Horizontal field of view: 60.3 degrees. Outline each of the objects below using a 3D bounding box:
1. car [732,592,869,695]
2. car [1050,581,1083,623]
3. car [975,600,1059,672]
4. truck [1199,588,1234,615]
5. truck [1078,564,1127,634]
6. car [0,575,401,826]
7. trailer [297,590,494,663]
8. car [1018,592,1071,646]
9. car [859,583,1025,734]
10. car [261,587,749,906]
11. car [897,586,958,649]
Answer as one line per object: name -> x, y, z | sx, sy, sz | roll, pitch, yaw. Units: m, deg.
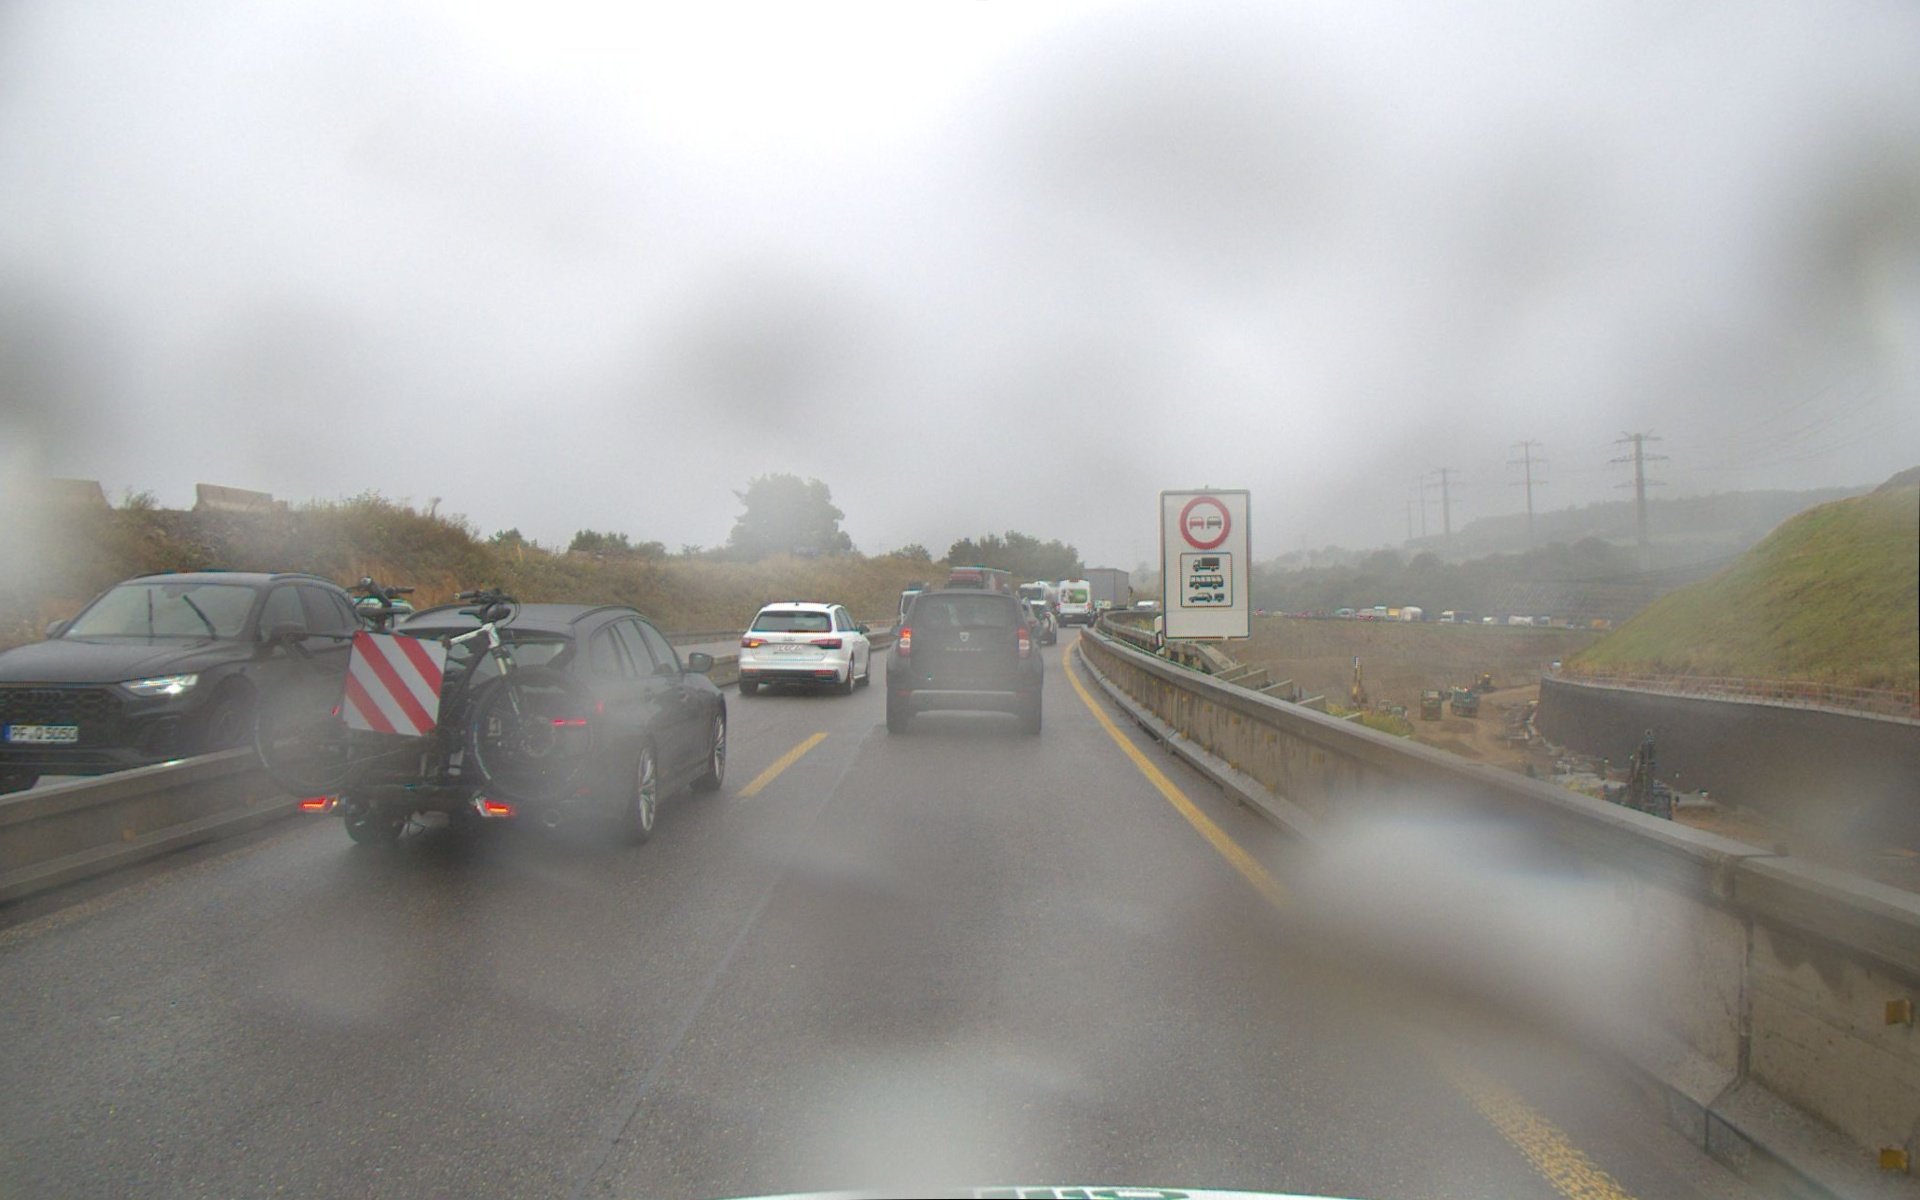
car -> -2.506, 0.679, 26.877 | 1.789, 1.525, 4.000 | 1, -1, 0
car -> 6.501, 0.121, 100.313 | 1.787, 2.480, 4.160 | 0, -1, 6
car -> 1.234, 0.805, 37.514 | 1.789, 1.525, 4.000 | 1, -1, 0
truck -> 37.069, 0.172, 239.109 | 3.400, 3.780, 8.419 | -1, 0, 20
truck -> 11.113, 0.015, 127.798 | 3.468, 5.166, 10.448 | 0, -1, 6
car -> -6.166, 0.651, 13.303 | 1.785, 1.668, 4.485 | 1, 0, 0
trailer -> -9.344, 0.400, 27.784 | 1.547, 1.107, 4.714 | 0, 0, 2
car -> 2.963, 0.675, 58.644 | 1.788, 1.847, 4.001 | 1, -1, 2
car -> -0.171, 0.659, 19.968 | 1.789, 1.619, 4.000 | 1, -1, 1
car -> -2.653, 0.719, 11.161 | 1.699, 1.488, 5.630 | 0, 2, 0
car -> -0.982, 0.548, 51.065 | 1.789, 1.847, 3.999 | 1, -1, 0
